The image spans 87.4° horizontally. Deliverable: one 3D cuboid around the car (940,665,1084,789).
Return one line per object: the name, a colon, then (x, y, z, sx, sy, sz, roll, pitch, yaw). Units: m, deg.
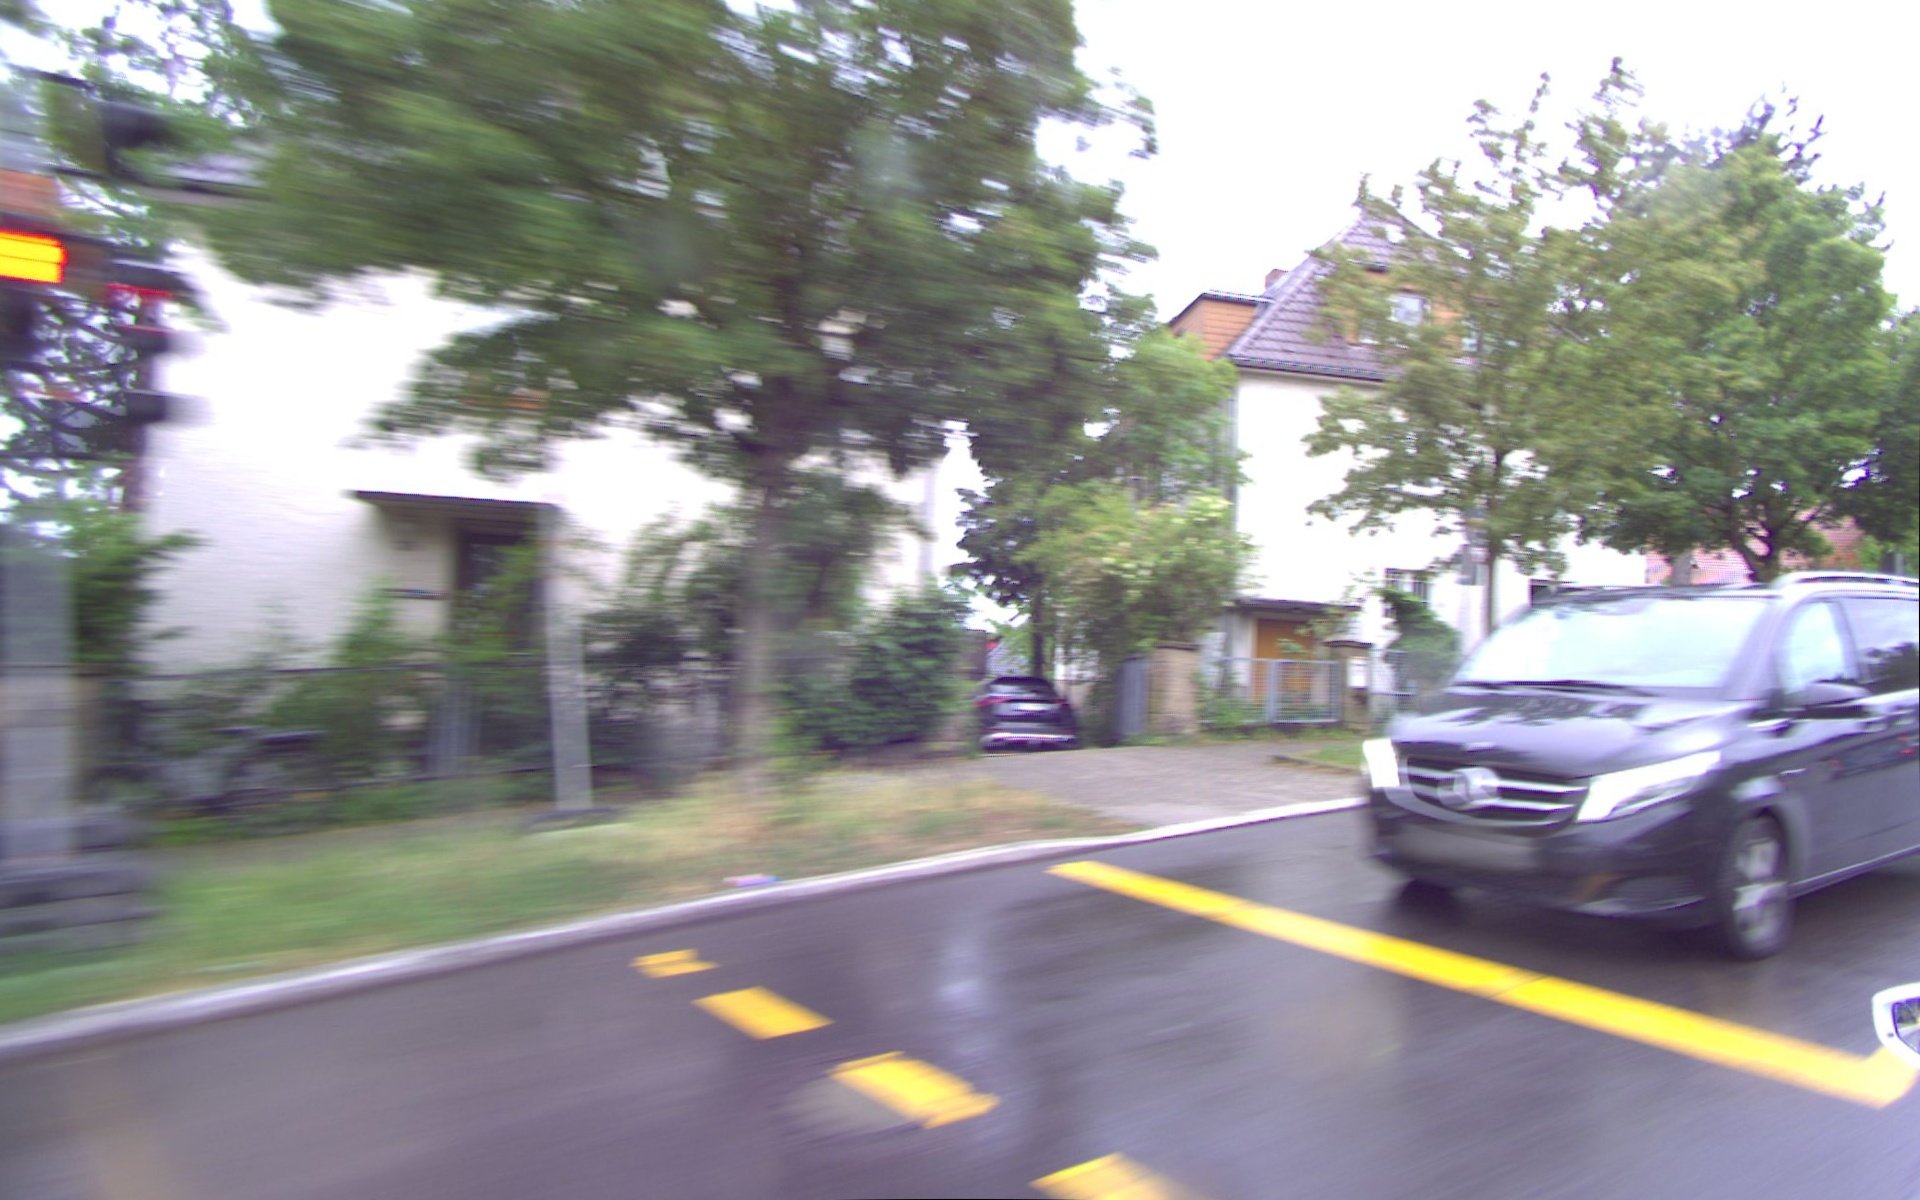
car: (0.752, 2.286, 17.291, 1.820, 1.601, 4.007, 0, -14, -6)

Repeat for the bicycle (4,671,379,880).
bicycle: (-5.797, 1.252, 7.730, 2.257, 1.289, 0.486, 0, -1, -44)

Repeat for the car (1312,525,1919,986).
car: (4.731, 0.751, 6.319, 5.093, 1.914, 1.888, 1, -4, -31)
